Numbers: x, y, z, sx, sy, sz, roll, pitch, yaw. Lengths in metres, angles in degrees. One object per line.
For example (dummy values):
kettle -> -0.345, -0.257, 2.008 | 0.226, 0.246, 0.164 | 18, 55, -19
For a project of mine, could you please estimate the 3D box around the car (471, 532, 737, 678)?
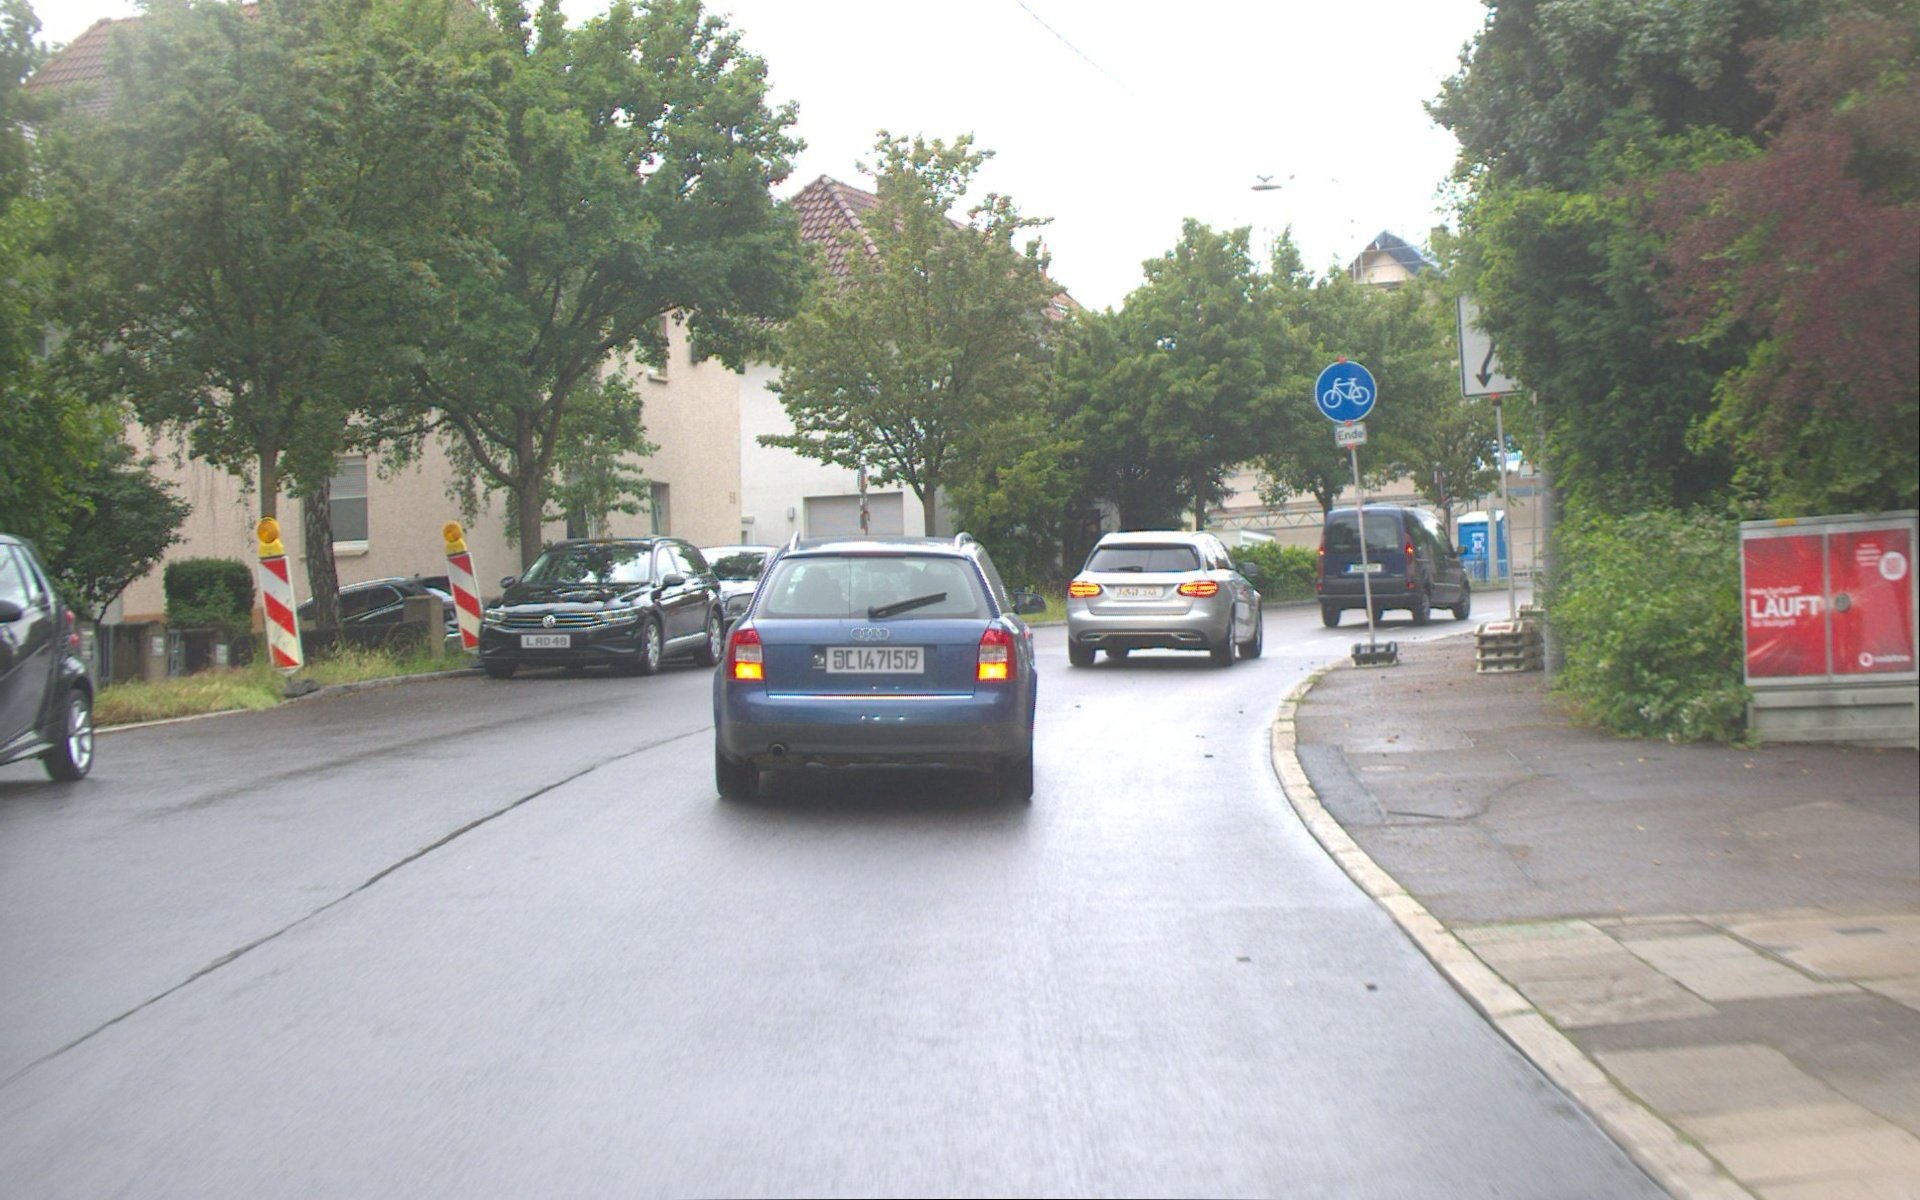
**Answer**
car -> -3.802, 0.023, 37.475 | 1.733, 1.479, 4.528 | -1, 1, 9

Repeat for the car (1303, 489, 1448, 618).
car -> 6.505, -0.748, 53.519 | 1.731, 1.888, 4.053 | 2, 2, 14

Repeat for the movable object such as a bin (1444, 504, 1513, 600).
movable object such as a bin -> 13.964, -1.295, 92.573 | 1.314, 2.497, 1.384 | -3, 0, 27

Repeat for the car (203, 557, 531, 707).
car -> -8.667, 0.472, 50.249 | 4.243, 1.500, 1.911 | -10, -3, 25

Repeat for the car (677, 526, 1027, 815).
car -> -0.534, 0.321, 19.680 | 1.777, 1.434, 4.000 | 1, 2, 1

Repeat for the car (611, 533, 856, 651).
car -> -2.754, -0.130, 42.943 | 1.708, 1.378, 4.527 | -1, 1, 15

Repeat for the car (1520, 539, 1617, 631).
car -> 11.463, -0.291, 64.859 | 1.720, 1.654, 3.713 | 1, 0, 9

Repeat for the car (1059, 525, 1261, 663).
car -> 2.280, -0.102, 38.191 | 1.909, 1.383, 4.349 | -2, 1, 7

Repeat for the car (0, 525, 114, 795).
car -> -6.164, 0.339, 20.163 | 1.518, 1.529, 3.036 | -1, 1, 2
